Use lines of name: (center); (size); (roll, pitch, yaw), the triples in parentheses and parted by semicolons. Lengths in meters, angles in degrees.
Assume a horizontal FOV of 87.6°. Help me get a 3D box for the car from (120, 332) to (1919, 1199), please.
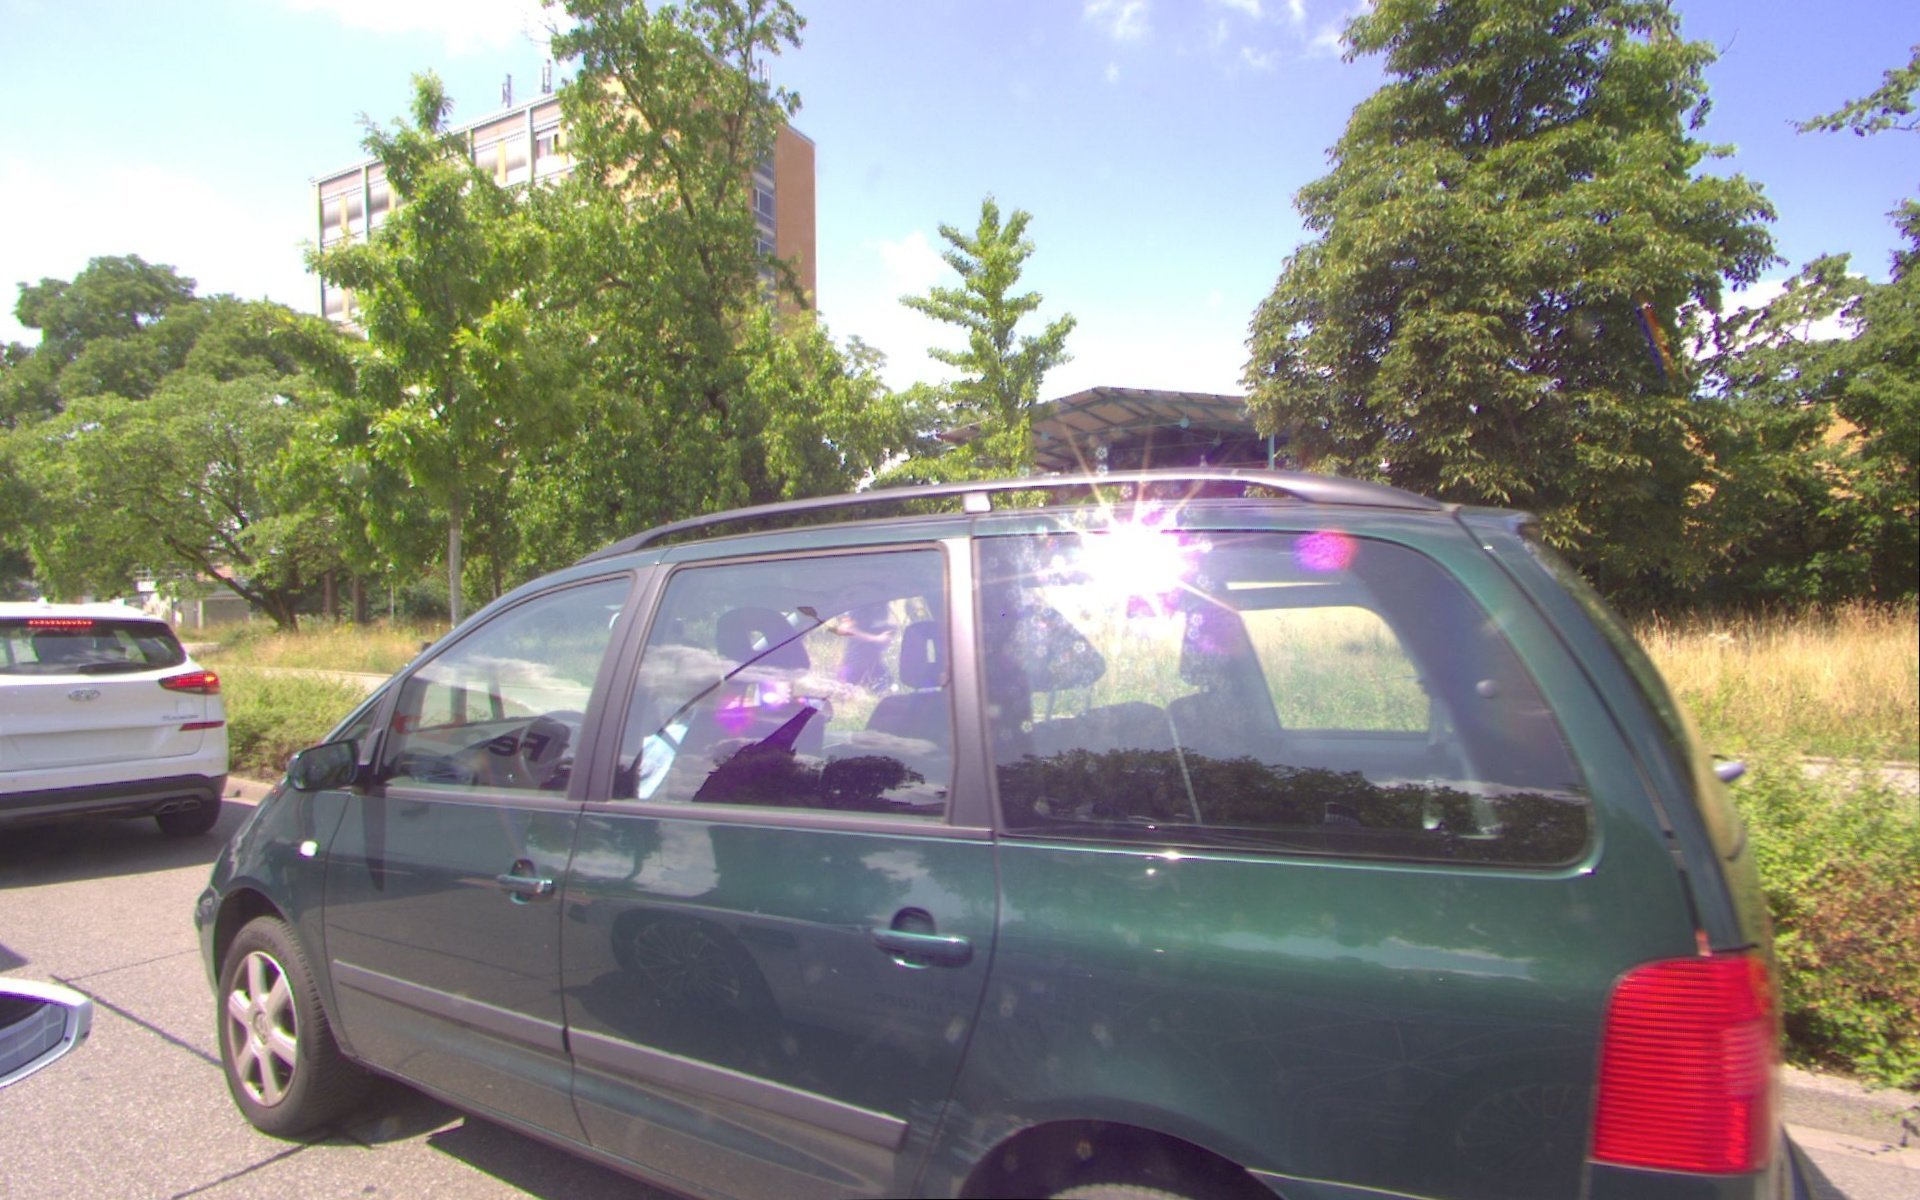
car: (-0.391, 0.640, 2.875); (4.324, 1.757, 1.809); (0, -1, 31)

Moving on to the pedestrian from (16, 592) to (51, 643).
pedestrian: (-38.294, 0.707, 41.409); (0.729, 2.085, 0.844); (0, 0, 26)

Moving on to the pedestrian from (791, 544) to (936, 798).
pedestrian: (-0.773, 0.540, 8.141); (0.762, 1.917, 0.948); (0, 0, 32)

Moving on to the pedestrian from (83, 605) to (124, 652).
pedestrian: (-28.705, 0.955, 33.567); (0.823, 1.559, 0.843); (0, 0, 32)

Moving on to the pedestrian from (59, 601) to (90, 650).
pedestrian: (-37.694, 1.086, 42.628); (0.730, 2.040, 0.843); (0, 0, 32)

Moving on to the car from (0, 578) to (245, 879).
car: (-6.902, 0.740, 7.064); (3.945, 1.710, 1.793); (0, 0, 34)
